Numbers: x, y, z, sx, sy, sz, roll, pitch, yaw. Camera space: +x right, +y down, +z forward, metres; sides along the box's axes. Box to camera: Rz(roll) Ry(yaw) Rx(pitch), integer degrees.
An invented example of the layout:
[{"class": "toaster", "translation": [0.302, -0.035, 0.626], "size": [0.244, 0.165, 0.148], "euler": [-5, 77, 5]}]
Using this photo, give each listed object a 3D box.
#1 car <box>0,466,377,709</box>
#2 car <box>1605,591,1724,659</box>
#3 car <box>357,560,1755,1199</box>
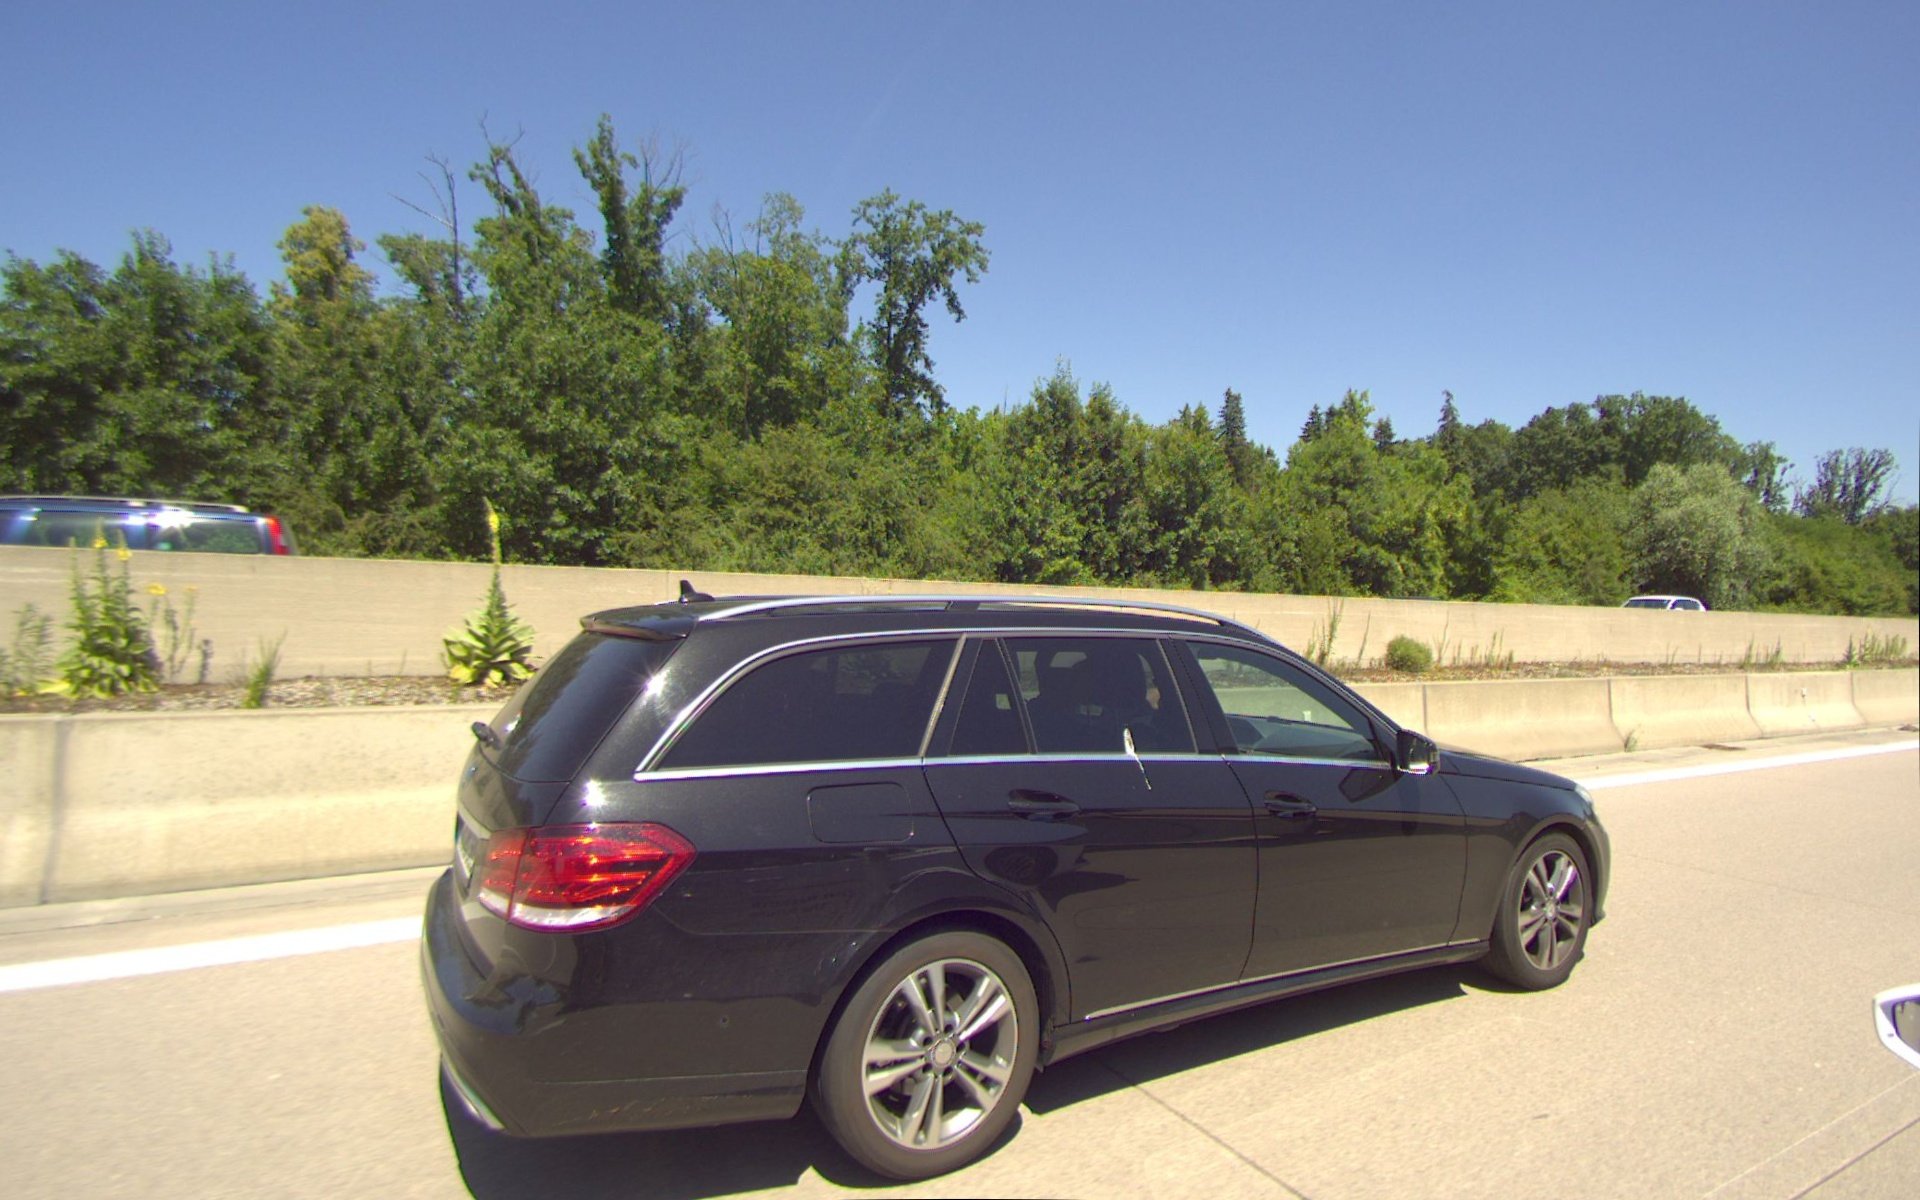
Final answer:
[{"class": "car", "translation": [-7.680, -0.089, 9.606], "size": [3.611, 2.040, 1.627], "euler": [1, 0, -31]}, {"class": "car", "translation": [22.632, 0.802, 32.251], "size": [4.056, 2.040, 1.626], "euler": [1, 0, -31]}, {"class": "car", "translation": [0.820, 0.712, 4.089], "size": [5.536, 1.493, 1.882], "euler": [1, -1, -30]}]
